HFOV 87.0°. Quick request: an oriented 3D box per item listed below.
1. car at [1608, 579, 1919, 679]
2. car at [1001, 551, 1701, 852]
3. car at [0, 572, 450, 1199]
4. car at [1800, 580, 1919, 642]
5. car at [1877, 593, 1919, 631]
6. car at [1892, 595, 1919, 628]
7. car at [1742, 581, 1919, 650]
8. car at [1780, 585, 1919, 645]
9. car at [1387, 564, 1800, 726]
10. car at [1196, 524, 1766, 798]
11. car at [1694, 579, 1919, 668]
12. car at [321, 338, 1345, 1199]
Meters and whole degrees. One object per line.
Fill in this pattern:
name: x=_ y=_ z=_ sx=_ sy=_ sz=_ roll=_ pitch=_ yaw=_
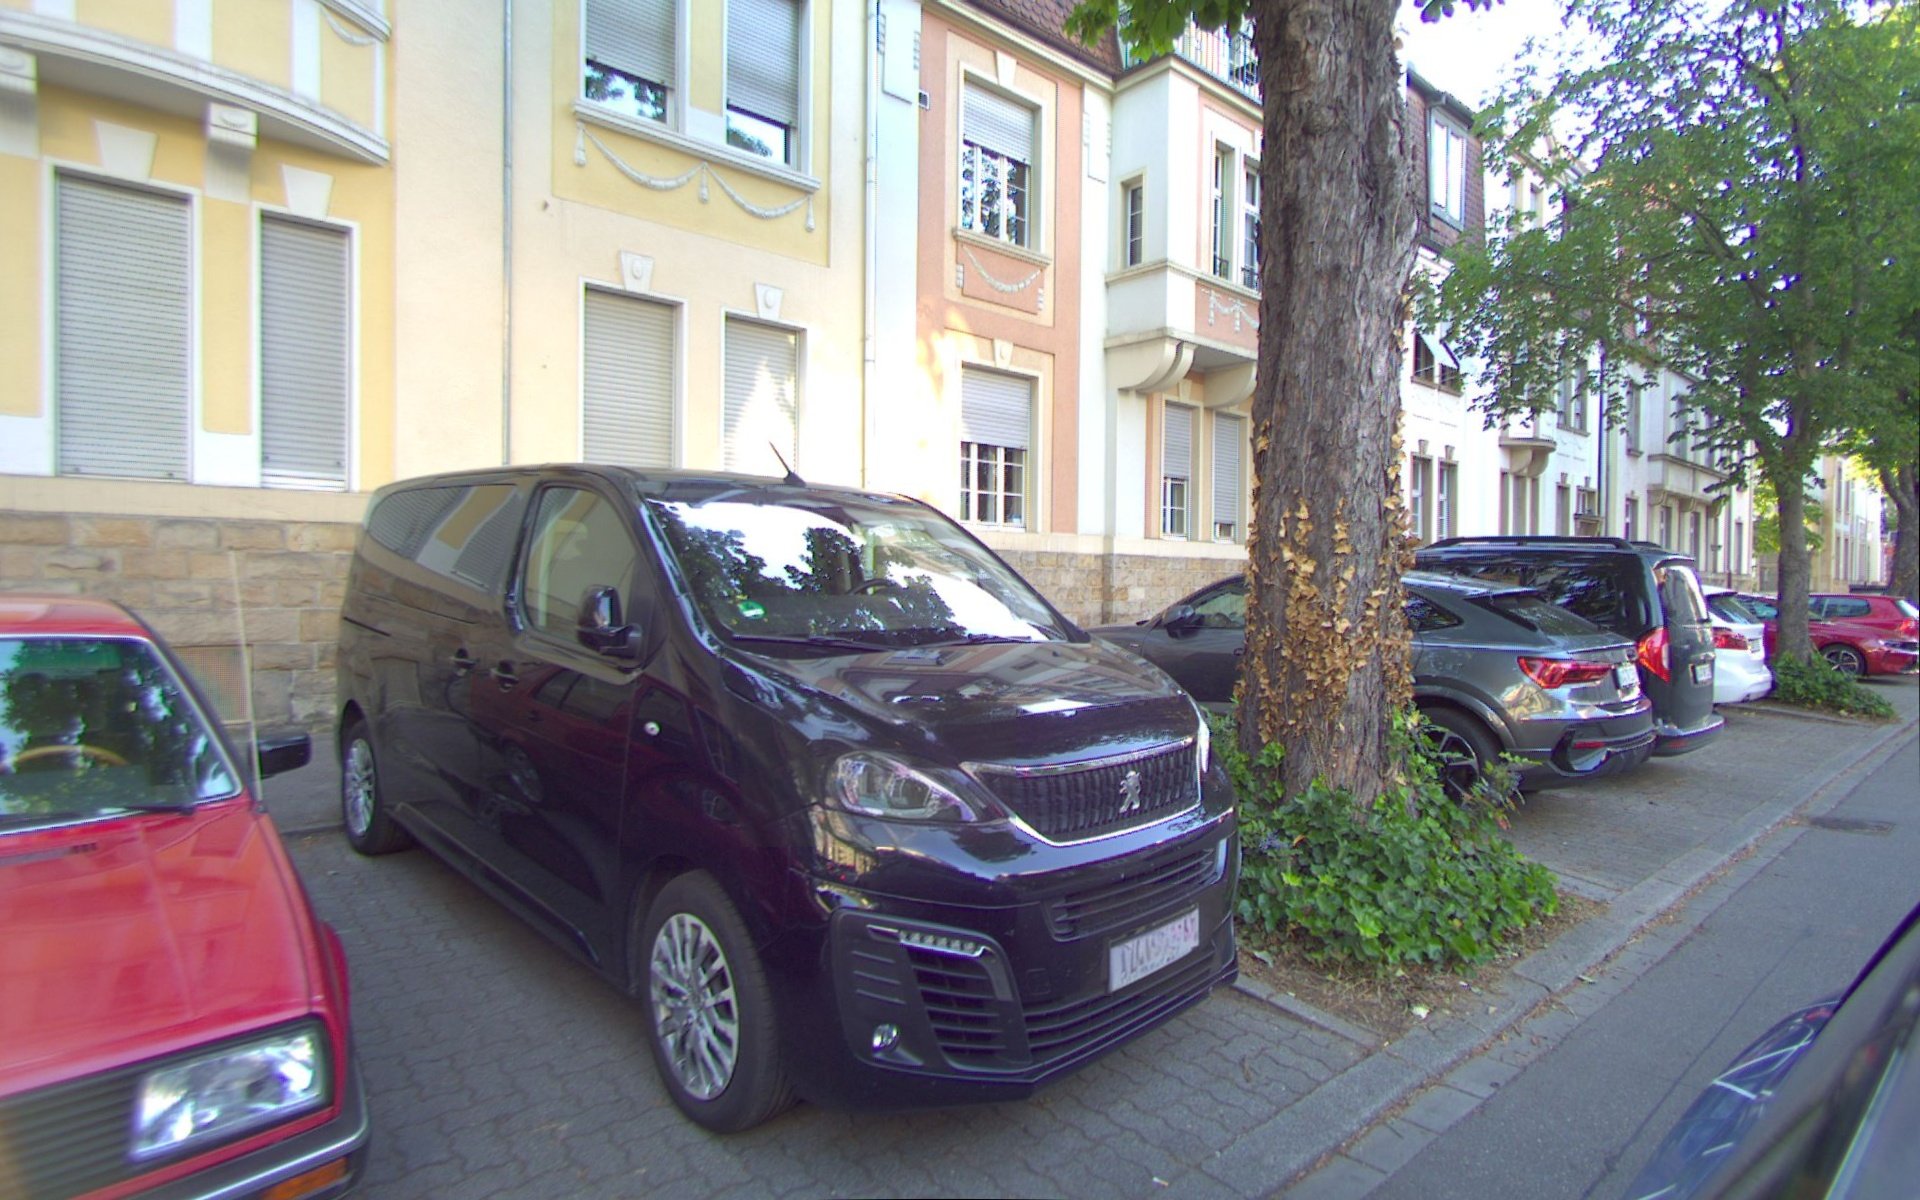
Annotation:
car: x=14.642 y=0.414 z=18.334 sx=1.833 sy=1.470 sz=4.533 roll=0 pitch=3 yaw=-38
car: x=2.569 y=0.443 z=7.534 sx=1.815 sy=1.542 sz=4.513 roll=-1 pitch=3 yaw=-44
car: x=-3.014 y=0.629 z=2.901 sx=1.603 sy=1.332 sz=4.140 roll=-1 pitch=3 yaw=-44
car: x=25.725 y=0.282 z=27.907 sx=1.548 sy=1.576 sz=3.681 roll=0 pitch=3 yaw=-39
car: x=31.748 y=0.441 z=32.343 sx=1.515 sy=1.164 sz=3.400 roll=0 pitch=3 yaw=-39
car: x=34.128 y=0.444 z=34.407 sx=1.515 sy=1.076 sz=3.400 roll=0 pitch=3 yaw=-39
car: x=21.708 y=0.341 z=24.847 sx=1.548 sy=1.484 sz=3.681 roll=0 pitch=3 yaw=-39
car: x=23.789 y=0.367 z=26.227 sx=1.548 sy=1.416 sz=3.681 roll=0 pitch=3 yaw=-39
car: x=7.561 y=0.396 z=12.394 sx=1.689 sy=1.597 sz=3.948 roll=0 pitch=3 yaw=-41
car: x=4.378 y=0.321 z=9.014 sx=1.813 sy=1.860 sz=4.116 roll=0 pitch=3 yaw=-42
car: x=16.751 y=0.388 z=19.690 sx=1.628 sy=1.499 sz=3.682 roll=0 pitch=2 yaw=-38
car: x=-1.082 y=0.329 z=4.346 sx=1.867 sy=1.897 sz=4.753 roll=-1 pitch=3 yaw=-44
